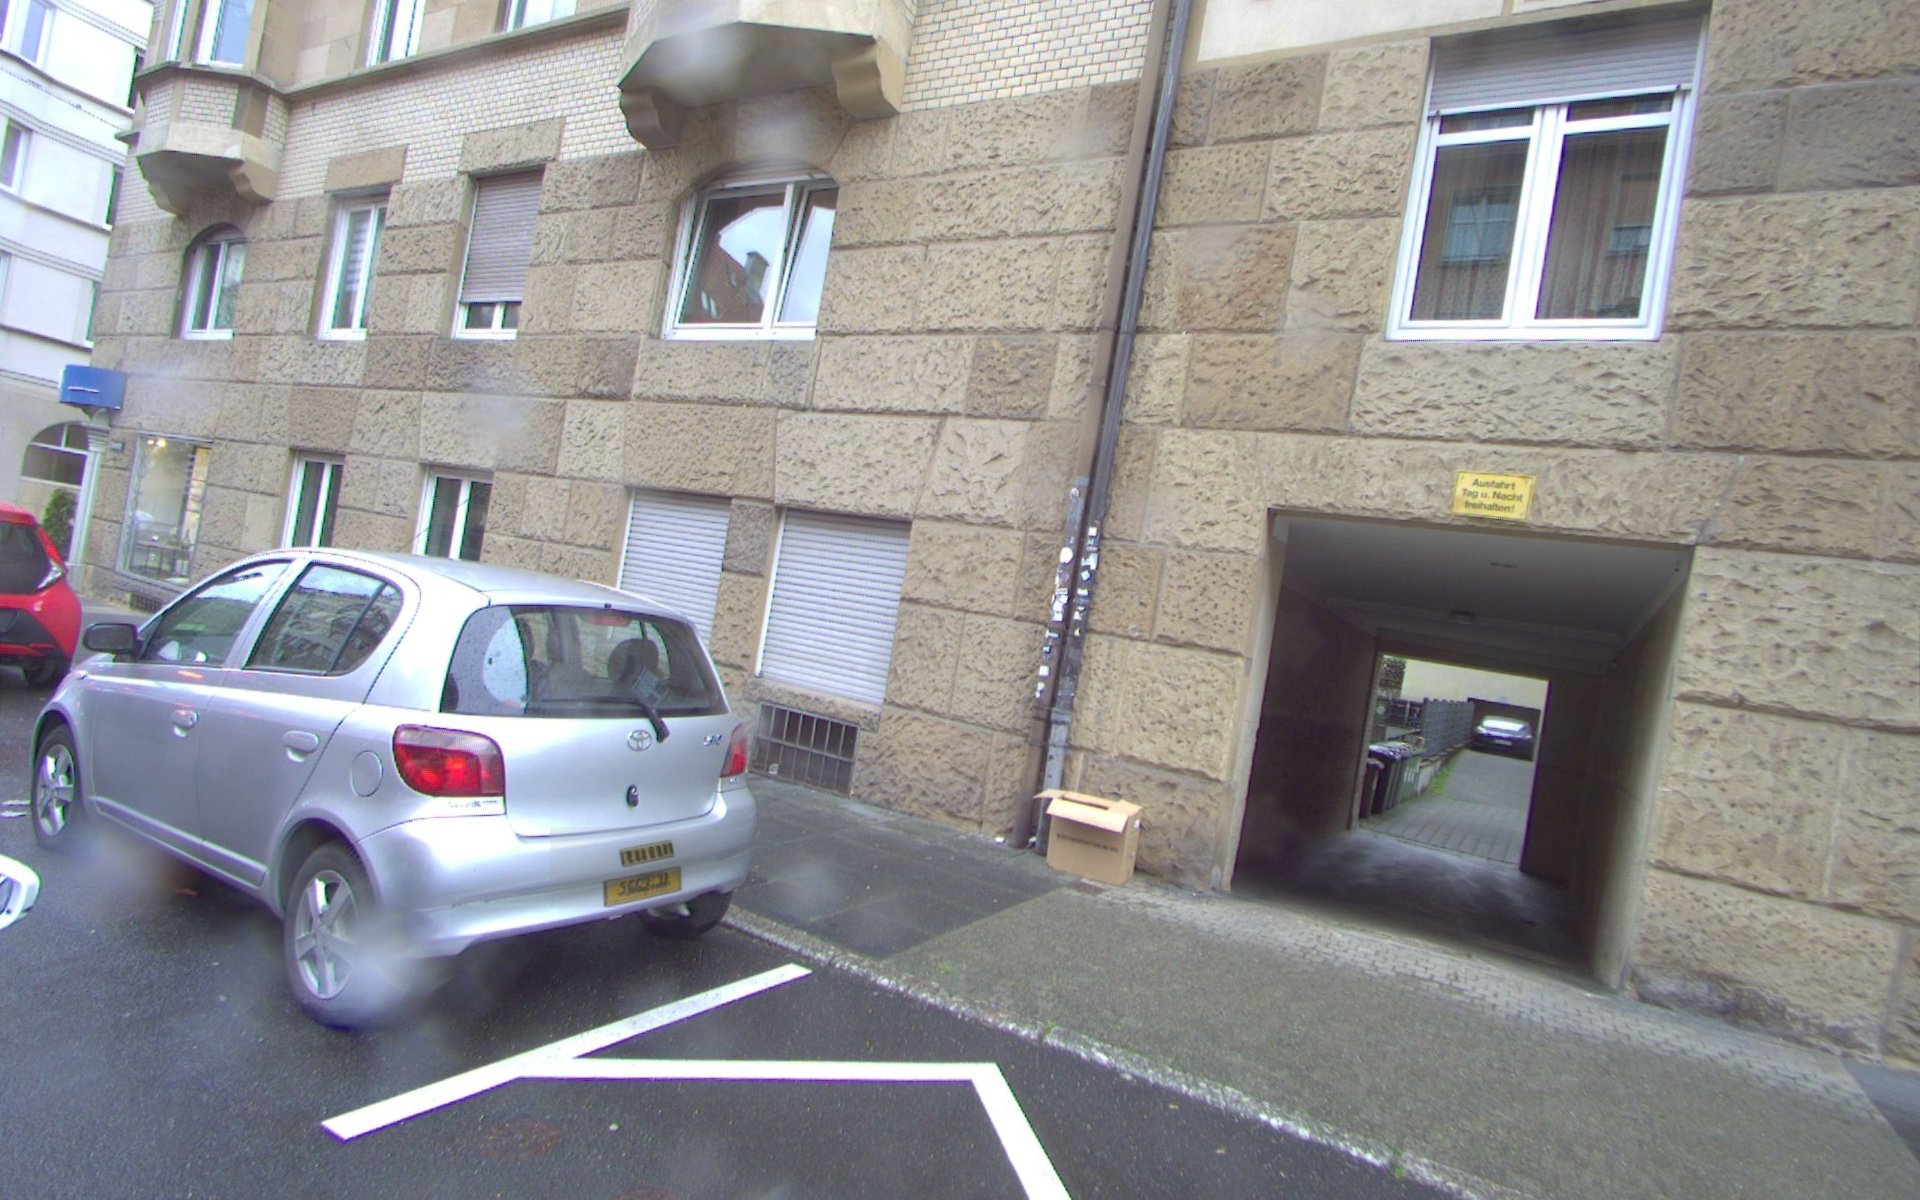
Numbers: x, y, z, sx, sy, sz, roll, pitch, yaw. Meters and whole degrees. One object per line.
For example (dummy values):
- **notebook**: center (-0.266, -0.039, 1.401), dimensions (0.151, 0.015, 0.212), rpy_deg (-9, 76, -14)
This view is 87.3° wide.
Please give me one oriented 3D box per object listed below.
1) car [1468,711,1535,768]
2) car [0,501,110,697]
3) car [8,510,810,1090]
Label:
- **car**: center (18.331, 4.678, 33.950), dimensions (1.693, 1.538, 4.102), rpy_deg (7, -3, 31)
- **car**: center (-8.745, -0.195, 8.185), dimensions (3.243, 1.464, 1.646), rpy_deg (7, -2, 29)
- **car**: center (-2.496, 0.554, 4.407), dimensions (3.258, 1.485, 1.616), rpy_deg (7, 0, 33)
